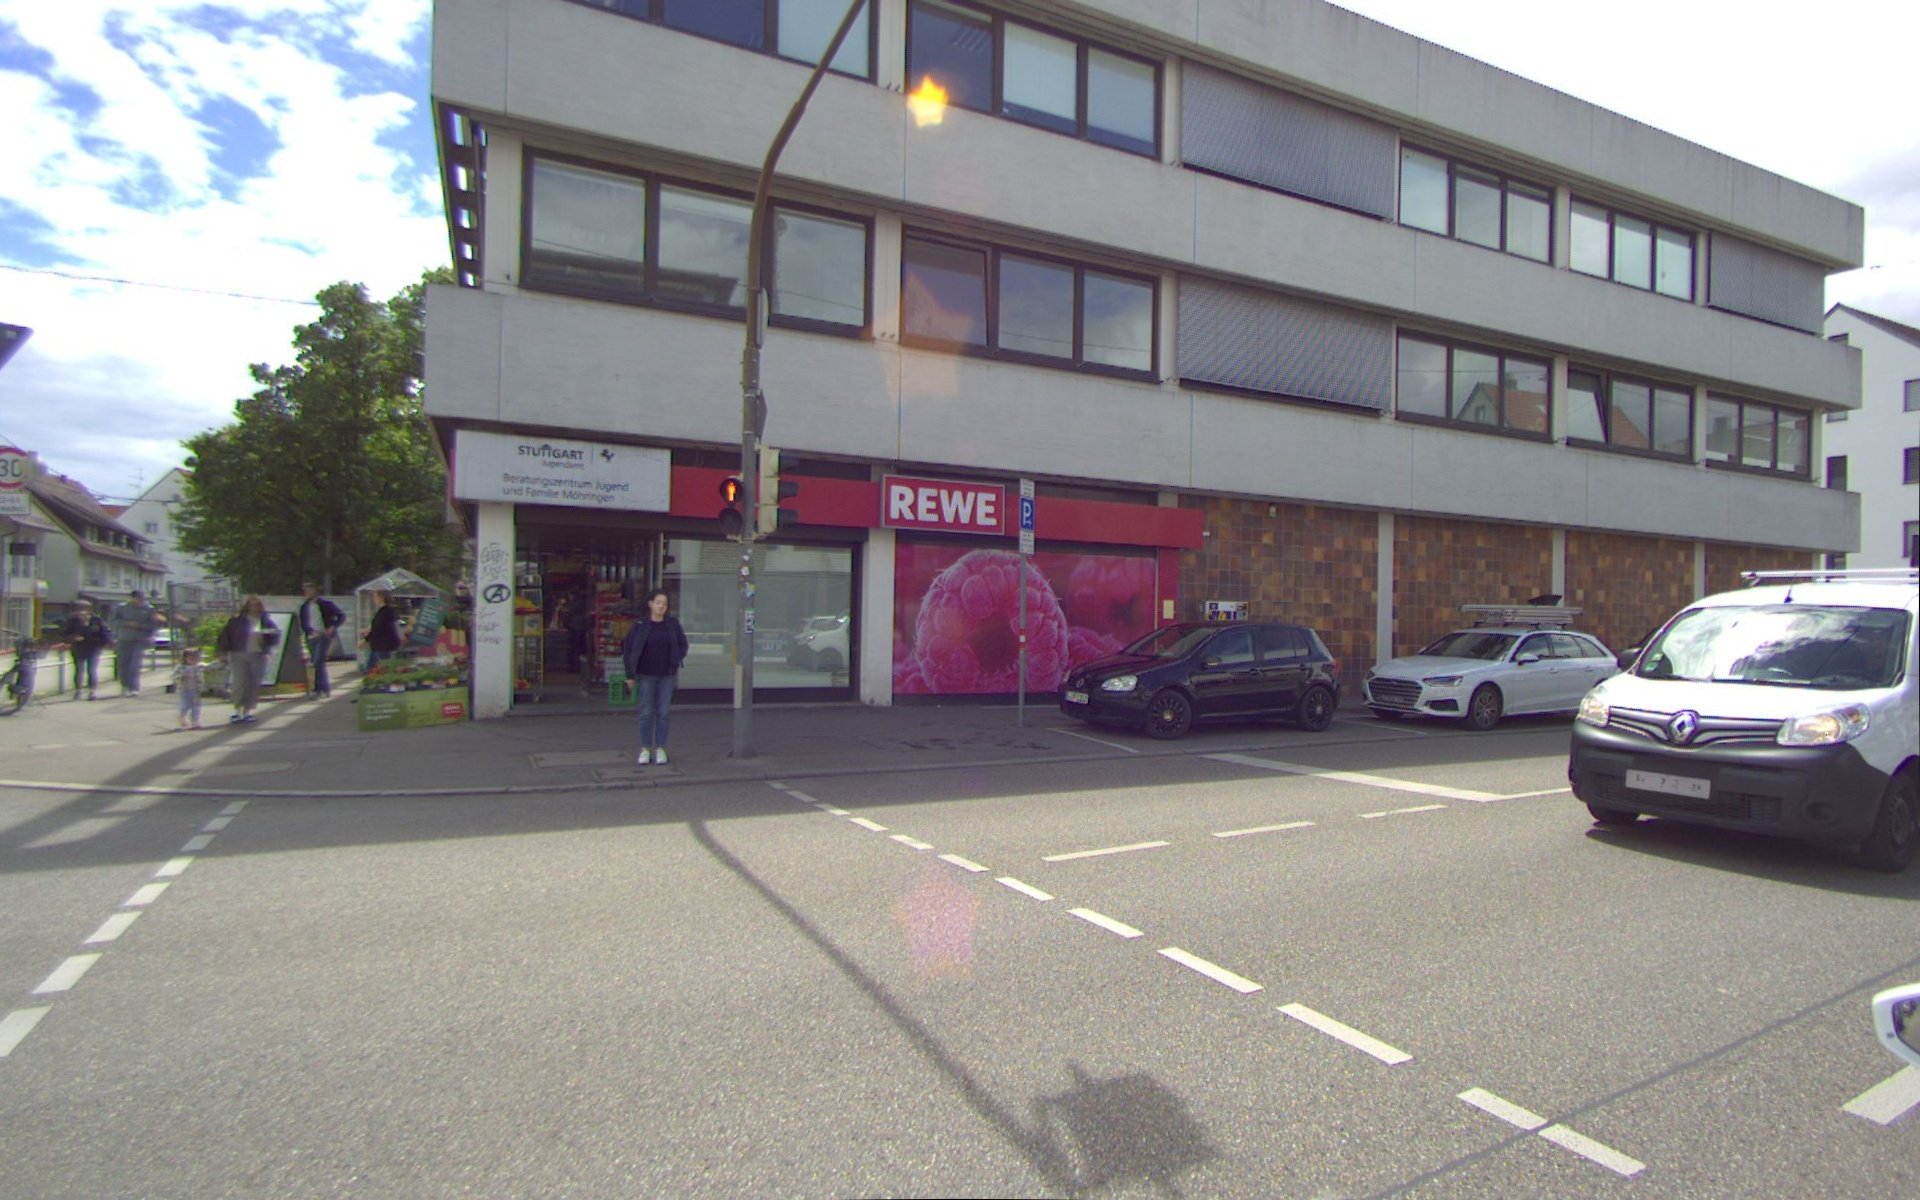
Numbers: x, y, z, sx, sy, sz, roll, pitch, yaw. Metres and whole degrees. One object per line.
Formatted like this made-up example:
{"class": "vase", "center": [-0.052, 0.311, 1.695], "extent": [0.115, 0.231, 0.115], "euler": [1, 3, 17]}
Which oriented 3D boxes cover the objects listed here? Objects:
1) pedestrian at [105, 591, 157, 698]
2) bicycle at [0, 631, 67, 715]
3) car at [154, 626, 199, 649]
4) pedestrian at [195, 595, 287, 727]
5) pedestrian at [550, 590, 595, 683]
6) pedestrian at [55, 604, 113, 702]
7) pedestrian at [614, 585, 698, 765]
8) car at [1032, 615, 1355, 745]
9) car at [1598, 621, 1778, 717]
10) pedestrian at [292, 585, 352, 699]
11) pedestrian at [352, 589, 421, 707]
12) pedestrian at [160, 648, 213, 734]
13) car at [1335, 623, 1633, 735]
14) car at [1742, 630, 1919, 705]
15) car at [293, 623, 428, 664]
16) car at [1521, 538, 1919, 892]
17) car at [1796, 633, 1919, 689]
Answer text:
{"class": "pedestrian", "center": [-14.732, 0.784, 17.874], "extent": [0.671, 1.860, 0.727], "euler": [1, -2, -38]}
{"class": "bicycle", "center": [-13.717, 1.054, 14.778], "extent": [0.770, 1.157, 1.866], "euler": [2, -3, -40]}
{"class": "car", "center": [-55.840, 2.656, 71.663], "extent": [1.898, 1.595, 4.296], "euler": [1, -2, -30]}
{"class": "pedestrian", "center": [-9.210, 0.767, 12.872], "extent": [0.712, 1.618, 0.695], "euler": [2, -1, 33]}
{"class": "pedestrian", "center": [-7.930, 0.744, 20.536], "extent": [0.671, 1.860, 0.727], "euler": [1, -2, -38]}
{"class": "pedestrian", "center": [-14.755, 0.883, 16.939], "extent": [0.671, 1.598, 0.727], "euler": [1, -2, -38]}
{"class": "pedestrian", "center": [-2.941, 0.702, 9.692], "extent": [0.652, 1.663, 0.616], "euler": [1, -1, -29]}
{"class": "car", "center": [3.160, 1.000, 13.528], "extent": [4.034, 1.484, 1.778], "euler": [1, 0, -27]}
{"class": "car", "center": [13.273, 1.199, 18.311], "extent": [2.909, 1.564, 1.600], "euler": [1, 1, -30]}
{"class": "pedestrian", "center": [-10.377, 0.682, 16.352], "extent": [0.545, 1.799, 0.622], "euler": [2, -1, -7]}
{"class": "pedestrian", "center": [-8.905, 0.739, 15.610], "extent": [0.381, 1.762, 0.779], "euler": [2, -1, 30]}
{"class": "pedestrian", "center": [-9.476, 1.103, 12.306], "extent": [0.357, 1.018, 0.384], "euler": [2, -1, 34]}
{"class": "car", "center": [8.134, 1.130, 15.557], "extent": [4.385, 1.463, 1.897], "euler": [1, 0, -27]}
{"class": "car", "center": [18.552, 1.366, 21.293], "extent": [3.814, 1.445, 1.748], "euler": [1, -2, -28]}
{"class": "car", "center": [-20.378, 1.450, 34.288], "extent": [3.670, 1.339, 1.775], "euler": [1, -1, -21]}
{"class": "car", "center": [6.192, 0.685, 7.381], "extent": [4.109, 1.943, 1.828], "euler": [2, -1, -31]}
{"class": "car", "center": [24.987, 1.629, 27.621], "extent": [3.796, 1.416, 1.898], "euler": [1, -2, -30]}
